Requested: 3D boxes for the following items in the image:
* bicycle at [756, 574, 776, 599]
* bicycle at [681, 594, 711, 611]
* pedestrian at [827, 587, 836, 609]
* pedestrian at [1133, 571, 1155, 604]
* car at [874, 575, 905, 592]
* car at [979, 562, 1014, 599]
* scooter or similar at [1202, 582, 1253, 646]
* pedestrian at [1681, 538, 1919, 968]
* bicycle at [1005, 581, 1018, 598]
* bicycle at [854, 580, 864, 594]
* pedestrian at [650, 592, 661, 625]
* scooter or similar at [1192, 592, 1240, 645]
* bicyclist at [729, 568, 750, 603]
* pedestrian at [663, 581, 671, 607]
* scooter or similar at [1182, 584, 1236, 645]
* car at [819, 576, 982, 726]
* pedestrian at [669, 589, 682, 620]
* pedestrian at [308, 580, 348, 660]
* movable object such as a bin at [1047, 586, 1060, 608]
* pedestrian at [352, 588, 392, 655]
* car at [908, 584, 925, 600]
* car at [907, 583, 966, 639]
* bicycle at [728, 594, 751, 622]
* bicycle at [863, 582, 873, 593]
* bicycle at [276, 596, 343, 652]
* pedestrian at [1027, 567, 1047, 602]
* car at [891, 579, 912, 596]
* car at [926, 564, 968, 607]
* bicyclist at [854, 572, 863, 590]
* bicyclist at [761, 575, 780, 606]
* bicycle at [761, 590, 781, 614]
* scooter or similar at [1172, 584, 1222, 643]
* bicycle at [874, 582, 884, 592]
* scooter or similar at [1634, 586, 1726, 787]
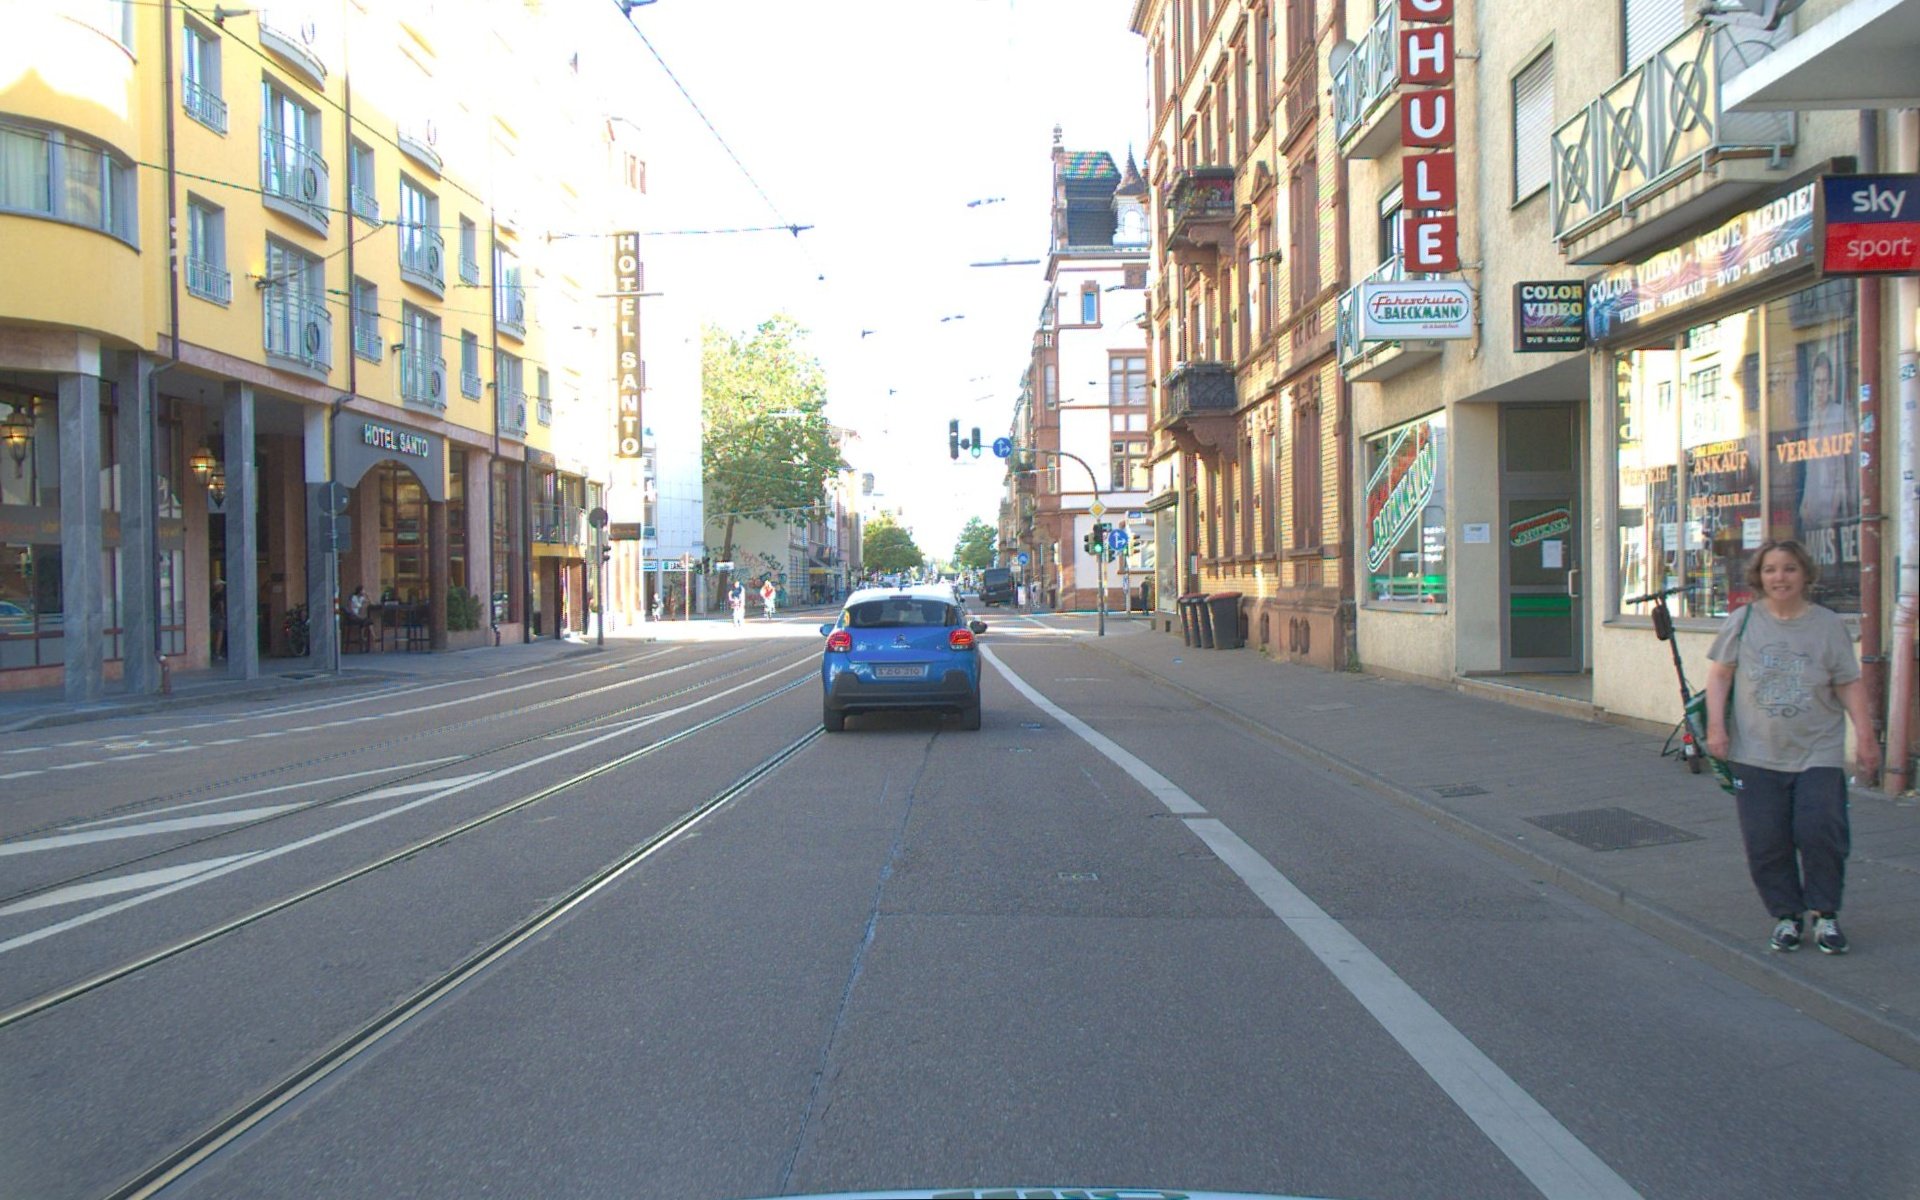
[{"bbox_3d":[-9.280,-0.650,79.181,0.716,1.204,2.061,-1,1,-2],"label":"bicycle"},{"bbox_3d":[-17.091,0.180,107.229,1.878,1.052,0.665,-1,0,26],"label":"bicycle"},{"bbox_3d":[-10.242,-0.164,131.807,0.696,1.795,0.570,-1,1,-2],"label":"pedestrian"},{"bbox_3d":[8.325,-0.551,74.789,0.918,1.482,0.824,-1,1,12],"label":"pedestrian"},{"bbox_3d":[-10.950,-2.512,255.812,4.255,2.626,2.191,-1,1,-26],"label":"car"},{"bbox_3d":[2.533,-1.345,115.178,2.225,2.479,5.720,-1,1,0],"label":"car"},{"bbox_3d":[5.241,0.270,32.456,0.774,1.168,0.790,-5,1,-2],"label":"scooter or similar"},{"bbox_3d":[3.349,0.563,6.537,0.635,1.587,0.781,-1,0,-2],"label":"pedestrian"},{"bbox_3d":[2.950,-0.605,94.849,0.423,0.964,1.761,-1,1,-7],"label":"bicycle"},{"bbox_3d":[-8.259,-1.044,135.141,0.678,1.140,2.083,-1,1,-1],"label":"bicycle"},{"bbox_3d":[-13.405,0.386,72.808,0.395,1.435,0.516,0,0,-2],"label":"pedestrian"},{"bbox_3d":[5.163,0.363,33.369,0.774,0.973,0.680,-5,1,-2],"label":"scooter or similar"},{"bbox_3d":[-8.992,-0.578,67.335,0.709,1.405,1.227,-1,1,-2],"label":"bicyclist"},{"bbox_3d":[-20.088,-0.425,113.322,0.446,1.748,0.547,-1,1,-1],"label":"pedestrian"},{"bbox_3d":[5.132,0.296,34.136,0.915,1.168,0.650,-5,1,-2],"label":"scooter or similar"},{"bbox_3d":[-0.622,0.510,18.714,1.640,1.503,3.999,0,0,-1],"label":"car"},{"bbox_3d":[-14.773,0.230,85.871,0.531,1.579,0.516,-1,1,-2],"label":"pedestrian"},{"bbox_3d":[-14.352,0.441,37.569,0.549,1.801,0.723,-1,0,4],"label":"pedestrian"},{"bbox_3d":[5.022,-0.172,89.154,0.652,1.174,0.594,-1,0,-1],"label":"movable object such as a bin"},{"bbox_3d":[-13.952,0.507,39.245,0.690,1.574,0.601,-1,0,4],"label":"pedestrian"},{"bbox_3d":[-5.268,-0.993,199.484,1.953,1.774,4.562,-1,1,-1],"label":"car"},{"bbox_3d":[-0.708,0.296,48.385,1.633,1.504,3.999,-1,1,-1],"label":"car"},{"bbox_3d":[-9.011,0.333,67.664,0.716,1.107,2.061,-1,1,-2],"label":"bicycle"},{"bbox_3d":[-11.515,-1.532,206.798,1.099,1.342,3.640,-1,1,-6],"label":"bicycle"},{"bbox_3d":[-14.937,0.538,38.048,0.569,1.224,2.082,-1,1,4],"label":"bicycle"},{"bbox_3d":[4.312,-0.867,92.852,0.693,1.808,0.672,-14,1,-2],"label":"pedestrian"},{"bbox_3d":[-5.667,-1.204,160.025,1.945,1.528,4.308,-1,1,-1],"label":"car"},{"bbox_3d":[-0.676,-0.740,82.188,1.953,2.048,3.999,-1,1,-1],"label":"car"},{"bbox_3d":[-8.242,-1.546,134.878,0.668,1.509,0.778,-1,1,-1],"label":"bicyclist"},{"bbox_3d":[-8.781,-0.439,76.738,0.720,1.405,1.468,-1,1,-2],"label":"bicyclist"},{"bbox_3d":[-8.775,0.076,76.760,0.716,1.084,2.061,-1,1,-2],"label":"bicycle"},{"bbox_3d":[5.039,0.284,35.155,0.879,1.168,0.547,-5,1,-2],"label":"scooter or similar"},{"bbox_3d":[-10.165,-1.673,206.700,1.099,1.166,3.640,-1,1,-6],"label":"bicycle"},{"bbox_3d":[4.981,0.563,11.485,0.401,1.304,1.284,-1,0,16],"label":"scooter or similar"}]
